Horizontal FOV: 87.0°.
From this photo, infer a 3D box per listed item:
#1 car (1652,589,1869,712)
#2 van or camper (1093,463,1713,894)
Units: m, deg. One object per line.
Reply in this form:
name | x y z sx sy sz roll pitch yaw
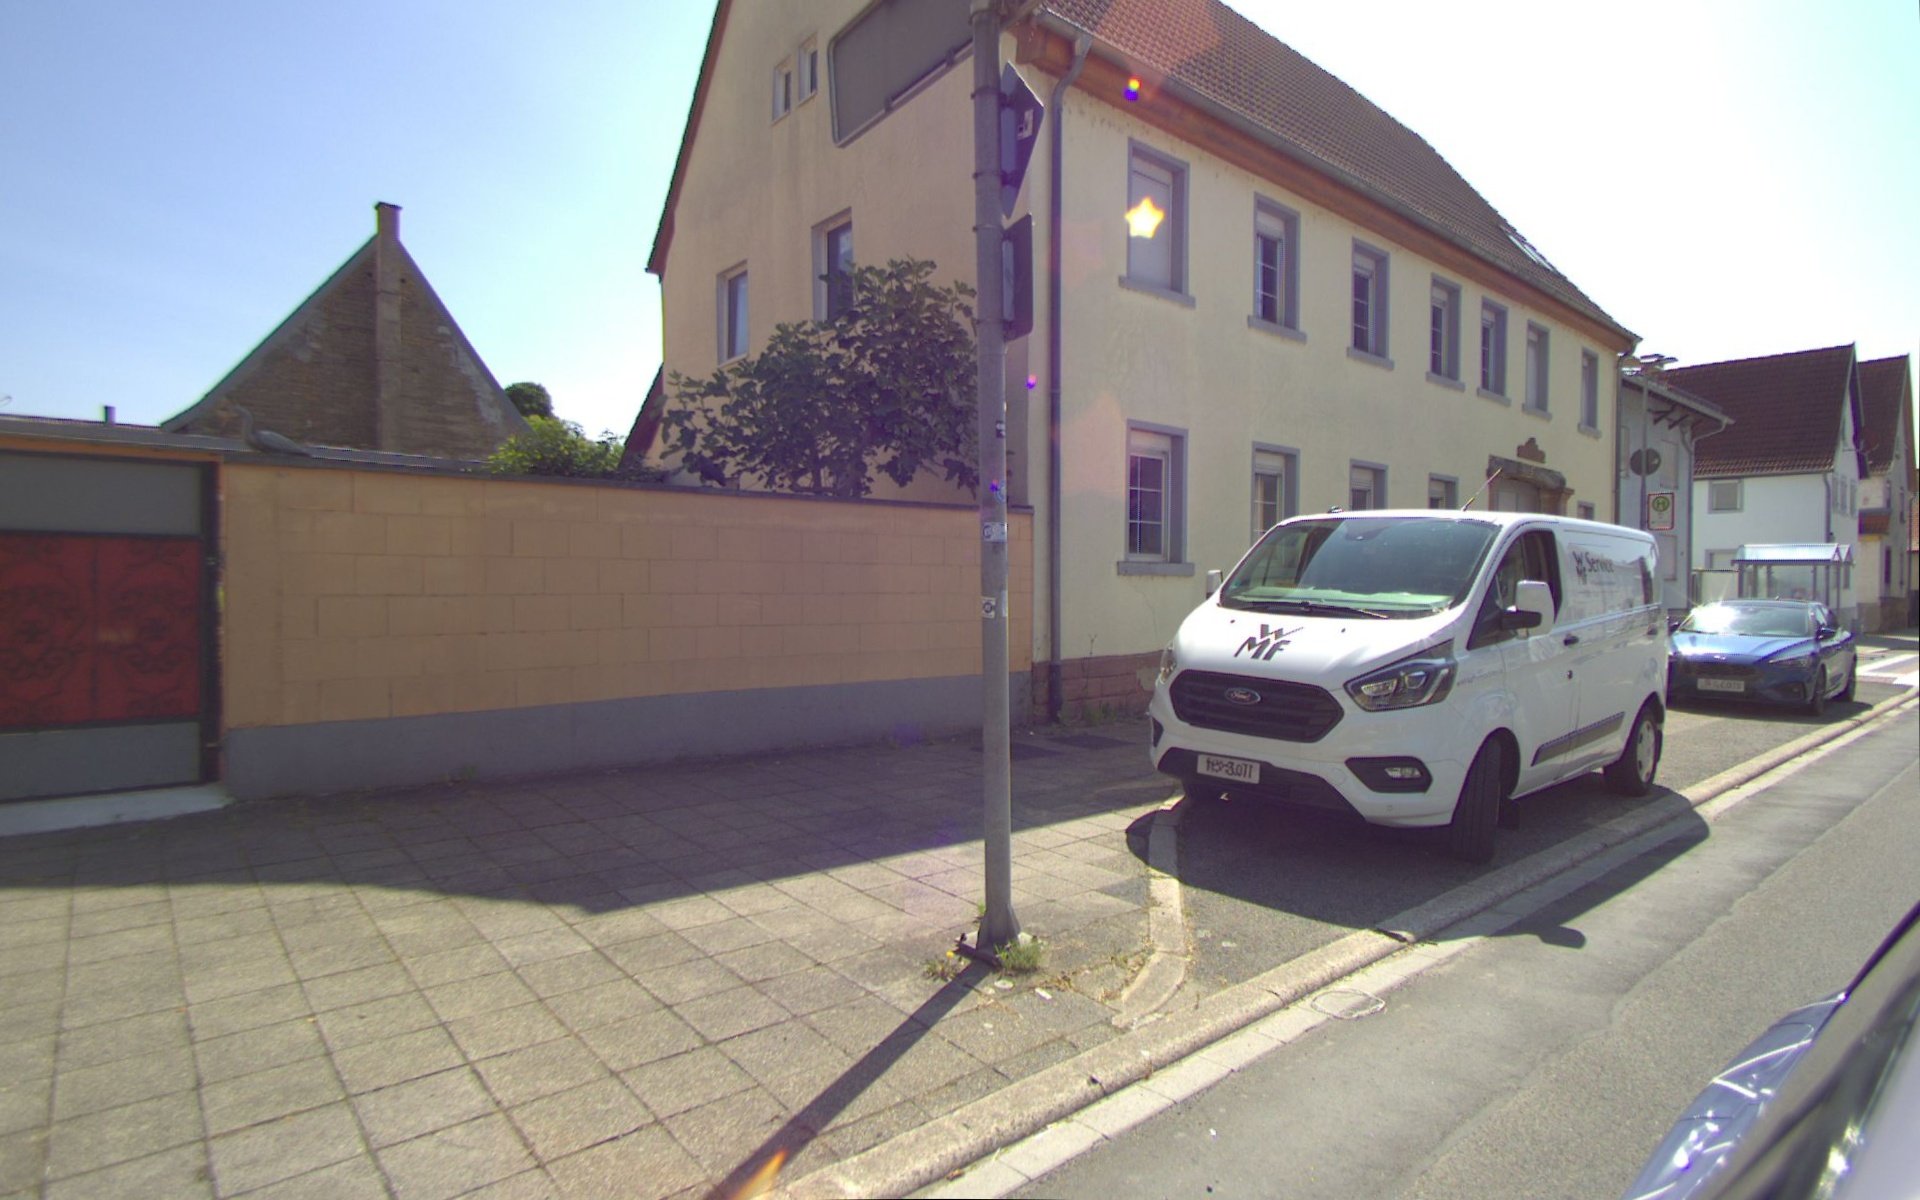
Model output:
car | 11.119 0.594 13.962 3.917 1.445 1.731 0 1 -42
van or camper | 3.437 0.320 7.153 5.254 1.978 1.997 0 2 -42
